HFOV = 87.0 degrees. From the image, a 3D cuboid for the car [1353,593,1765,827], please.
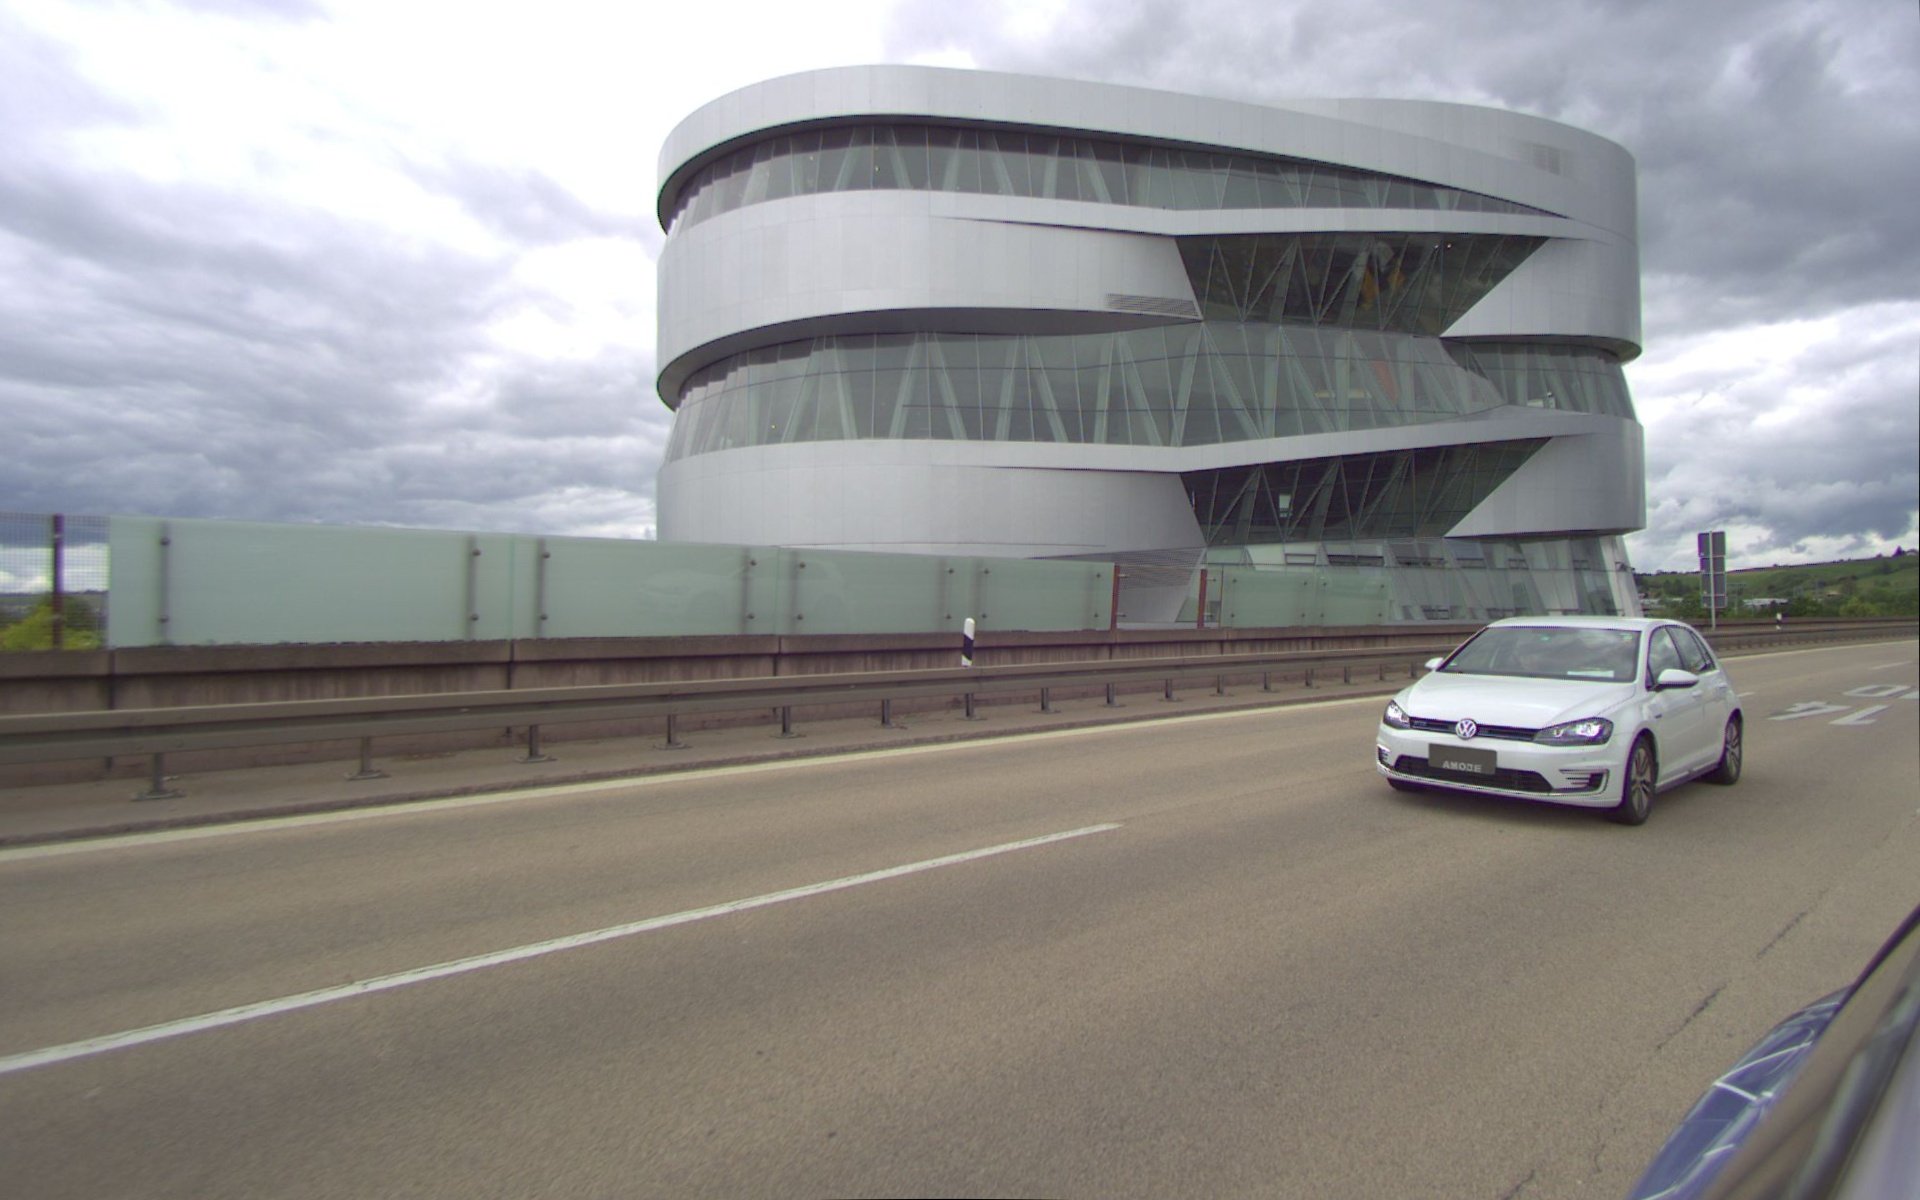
[{"bbox_3d":[5.080,0.695,8.364,4.000,1.470,1.758,0,0,-41],"label":"car"}]
